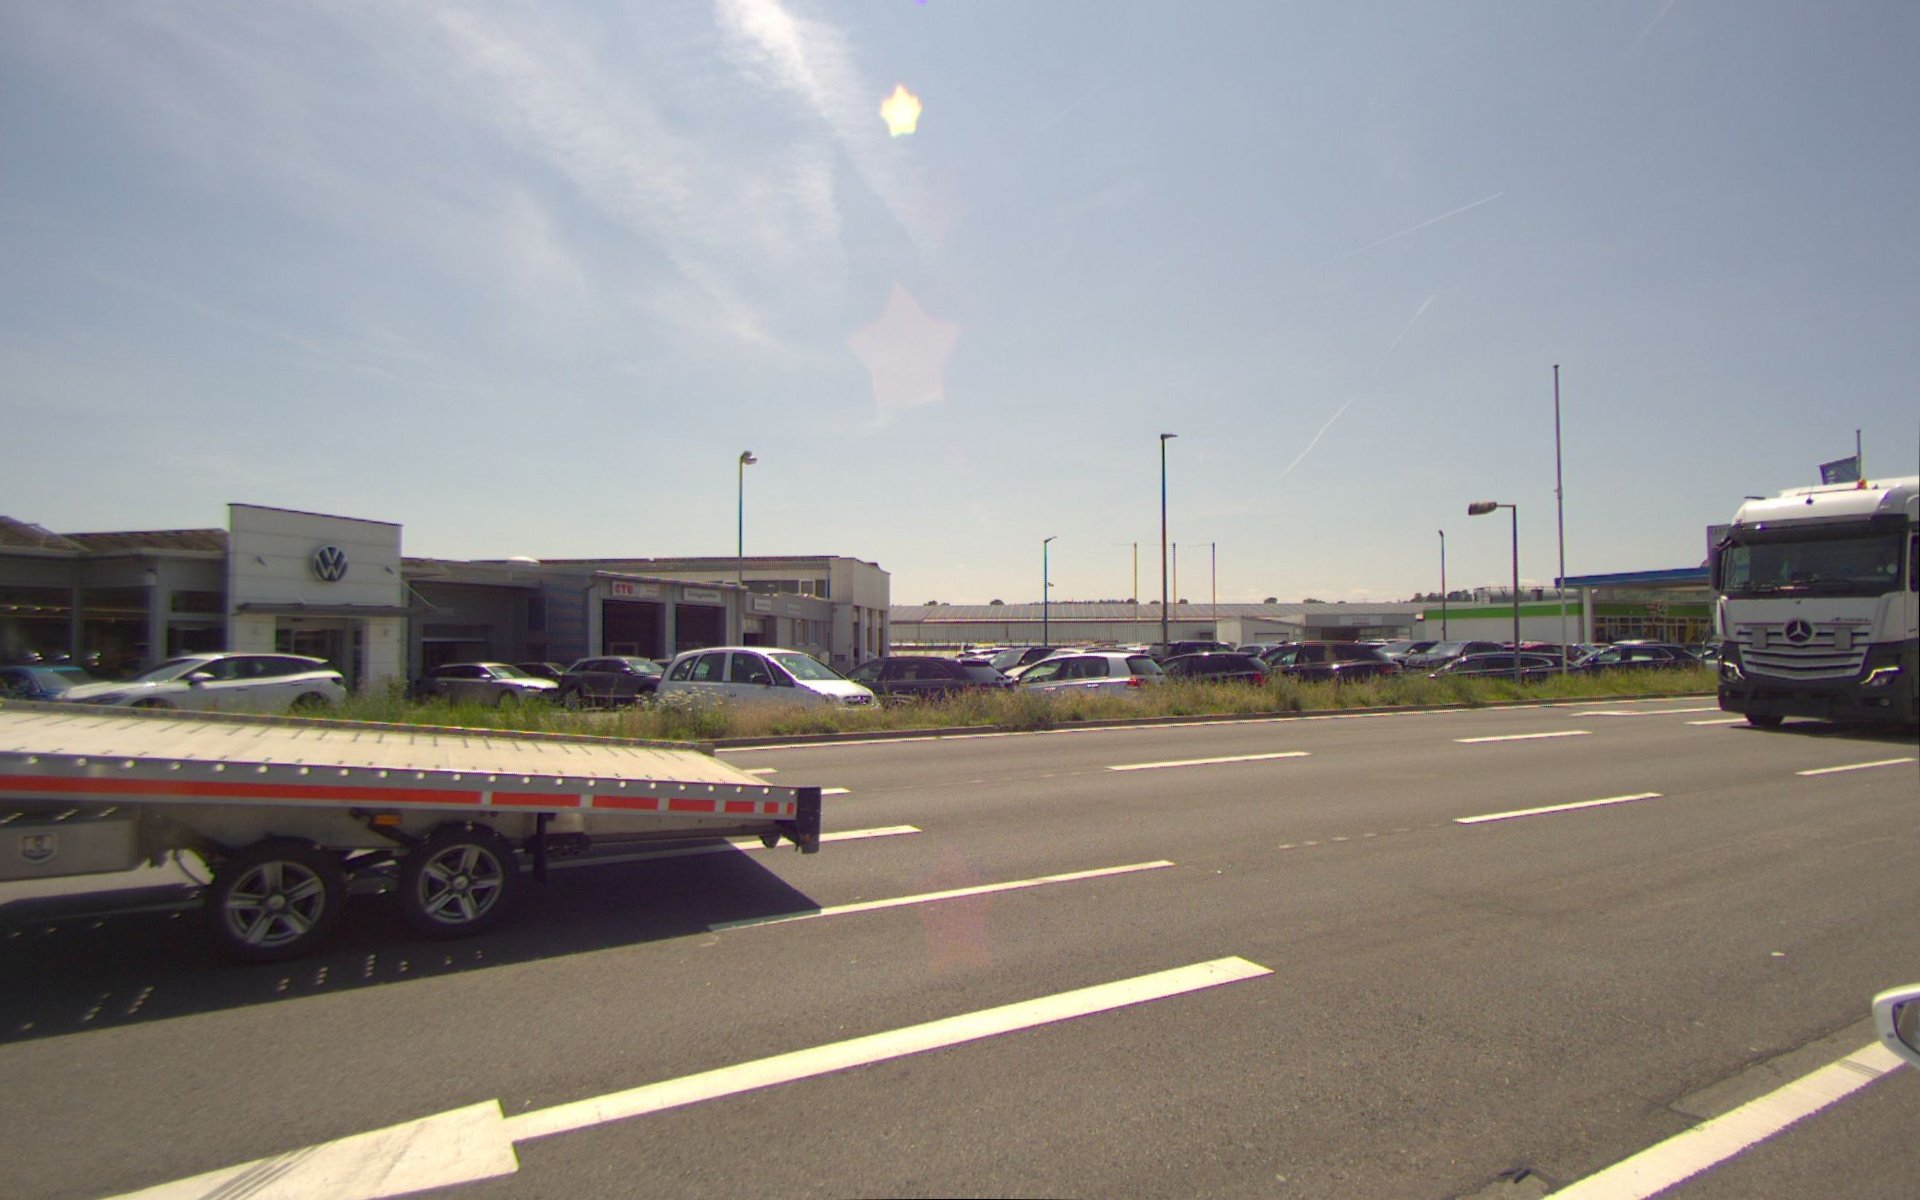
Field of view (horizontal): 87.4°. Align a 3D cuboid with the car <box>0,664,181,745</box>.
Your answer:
[{"bbox_3d":[-17.732,2.005,19.840,4.090,1.429,1.823,-1,-3,21],"label":"car"}]

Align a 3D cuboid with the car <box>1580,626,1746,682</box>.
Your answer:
[{"bbox_3d":[21.629,1.616,31.026,4.115,1.607,1.776,-1,-2,37],"label":"car"}]

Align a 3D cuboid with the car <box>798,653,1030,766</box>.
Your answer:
[{"bbox_3d":[-0.835,1.866,17.983,3.799,1.773,1.797,-1,-2,30],"label":"car"}]

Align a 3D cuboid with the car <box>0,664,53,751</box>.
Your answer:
[{"bbox_3d":[-18.115,1.848,17.445,4.090,1.429,1.823,-1,-3,21],"label":"car"}]

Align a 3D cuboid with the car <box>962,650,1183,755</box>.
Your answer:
[{"bbox_3d":[2.126,1.870,19.205,3.801,1.773,1.796,-1,-3,32],"label":"car"}]

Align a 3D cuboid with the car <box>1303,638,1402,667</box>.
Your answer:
[{"bbox_3d":[18.932,2.513,48.557,4.126,1.326,1.688,-1,-2,44],"label":"car"}]

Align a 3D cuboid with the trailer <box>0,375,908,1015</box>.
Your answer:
[{"bbox_3d":[-3.837,0.416,4.951,6.809,2.368,2.420,2,-4,-28],"label":"trailer"}]

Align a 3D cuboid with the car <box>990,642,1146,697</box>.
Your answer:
[{"bbox_3d":[3.301,2.054,30.427,4.409,1.483,1.983,1,-1,-32],"label":"car"}]

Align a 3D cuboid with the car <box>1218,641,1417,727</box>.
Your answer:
[{"bbox_3d":[7.712,1.746,21.697,3.799,1.708,1.797,-1,-2,30],"label":"car"}]

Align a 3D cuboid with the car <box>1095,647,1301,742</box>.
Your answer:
[{"bbox_3d":[4.902,1.872,20.747,3.799,1.773,1.797,-1,-2,30],"label":"car"}]

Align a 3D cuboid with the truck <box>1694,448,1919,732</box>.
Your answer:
[{"bbox_3d":[19.758,0.114,19.016,16.279,3.940,2.779,2,-1,-29],"label":"truck"}]

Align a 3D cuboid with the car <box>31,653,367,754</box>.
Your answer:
[{"bbox_3d":[-13.821,1.794,18.641,1.788,1.594,4.677,-1,-3,23],"label":"car"}]

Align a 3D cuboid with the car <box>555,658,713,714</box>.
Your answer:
[{"bbox_3d":[-9.380,2.440,29.003,3.920,1.481,1.901,-1,-3,16],"label":"car"}]

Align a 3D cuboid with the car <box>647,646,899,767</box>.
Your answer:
[{"bbox_3d":[-3.105,1.659,16.632,3.799,1.773,1.872,-1,-2,30],"label":"car"}]
